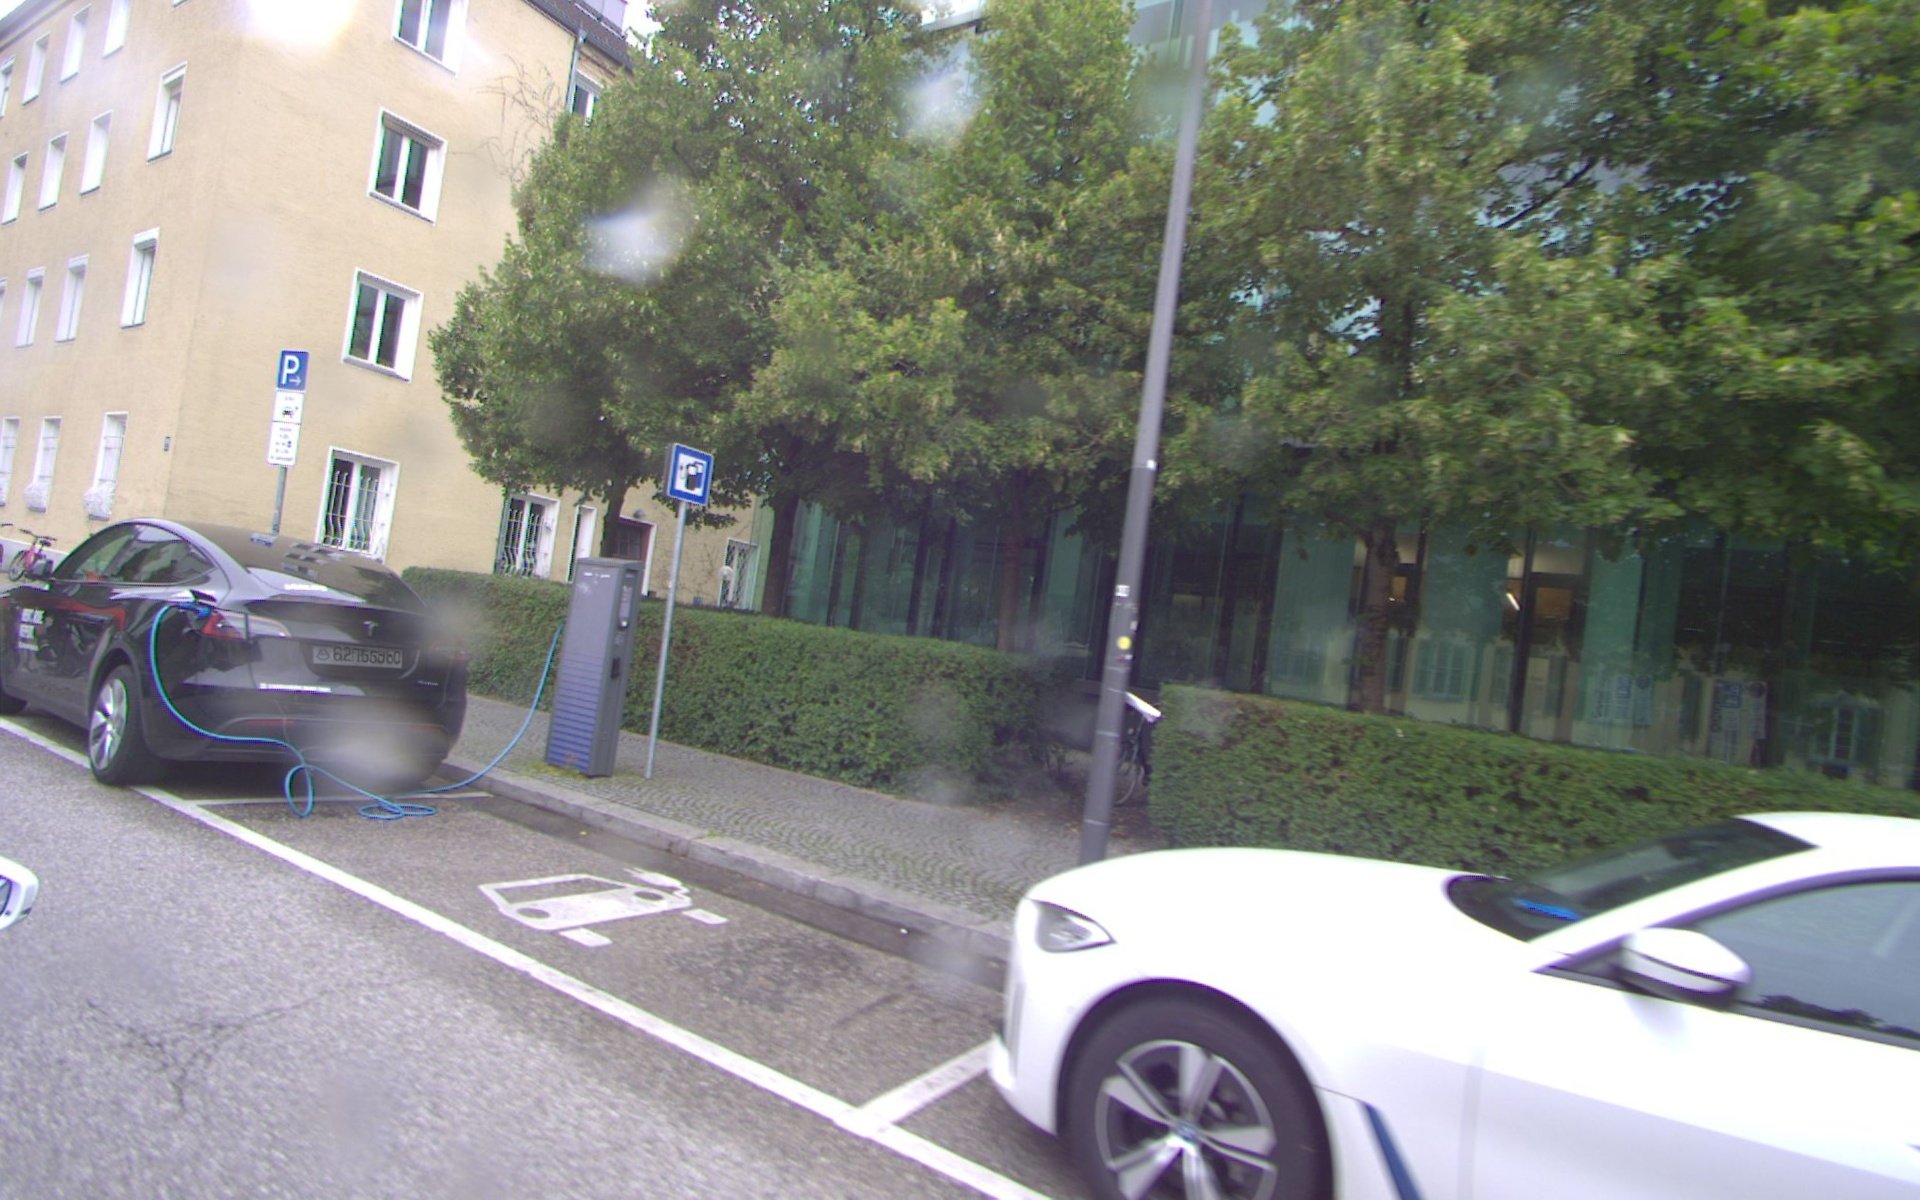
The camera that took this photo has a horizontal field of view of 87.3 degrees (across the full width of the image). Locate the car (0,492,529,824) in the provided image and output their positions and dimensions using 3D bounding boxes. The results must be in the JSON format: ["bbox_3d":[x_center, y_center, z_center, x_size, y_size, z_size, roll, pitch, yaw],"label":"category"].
[{"bbox_3d":[-5.678,0.273,7.506,5.019,1.648,1.998,6,-4,35],"label":"car"}]

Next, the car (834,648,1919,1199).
[{"bbox_3d":[2.297,1.257,2.661,4.873,1.475,2.000,7,-4,31],"label":"car"}]

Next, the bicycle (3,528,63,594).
[{"bbox_3d":[-18.577,-0.783,20.152,1.730,1.148,0.342,7,-2,33],"label":"bicycle"}]

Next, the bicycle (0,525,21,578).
[{"bbox_3d":[-21.569,-1.118,22.492,1.784,1.095,0.342,6,0,33],"label":"bicycle"}]

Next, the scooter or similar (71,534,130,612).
[{"bbox_3d":[-15.477,-0.493,18.110,1.288,1.271,0.342,6,0,33],"label":"scooter or similar"}]

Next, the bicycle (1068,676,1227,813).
[{"bbox_3d":[2.060,1.572,10.842,0.625,1.283,1.938,6,-3,42],"label":"bicycle"}]
